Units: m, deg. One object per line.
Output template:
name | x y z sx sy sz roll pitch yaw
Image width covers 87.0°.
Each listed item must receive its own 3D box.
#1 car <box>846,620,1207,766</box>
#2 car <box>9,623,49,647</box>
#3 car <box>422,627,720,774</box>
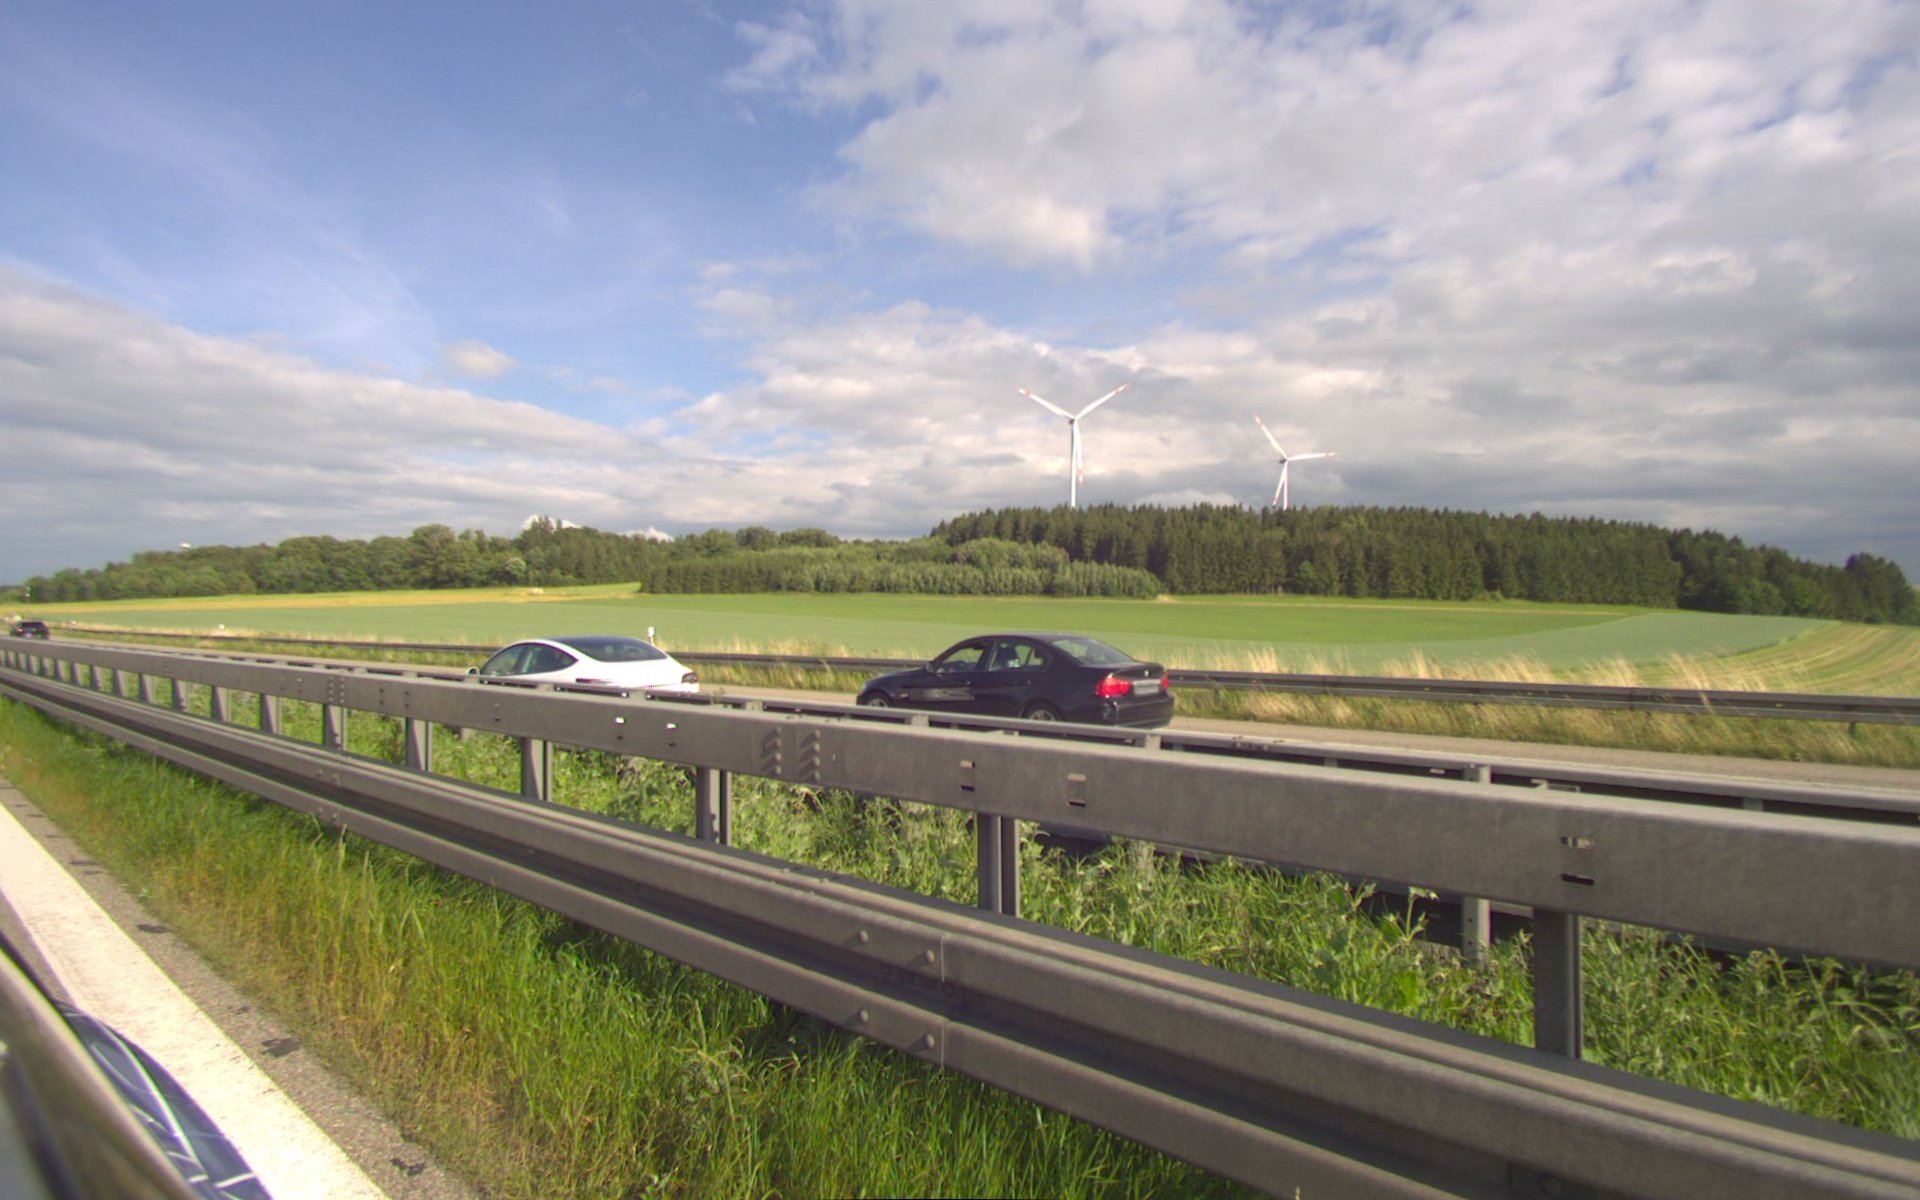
car | 0.708 1.039 12.946 4.477 1.490 1.732 0 0 41
car | -65.273 2.446 70.912 3.997 1.532 1.599 0 0 40
car | -5.217 1.161 13.254 4.477 1.532 1.732 0 0 41
